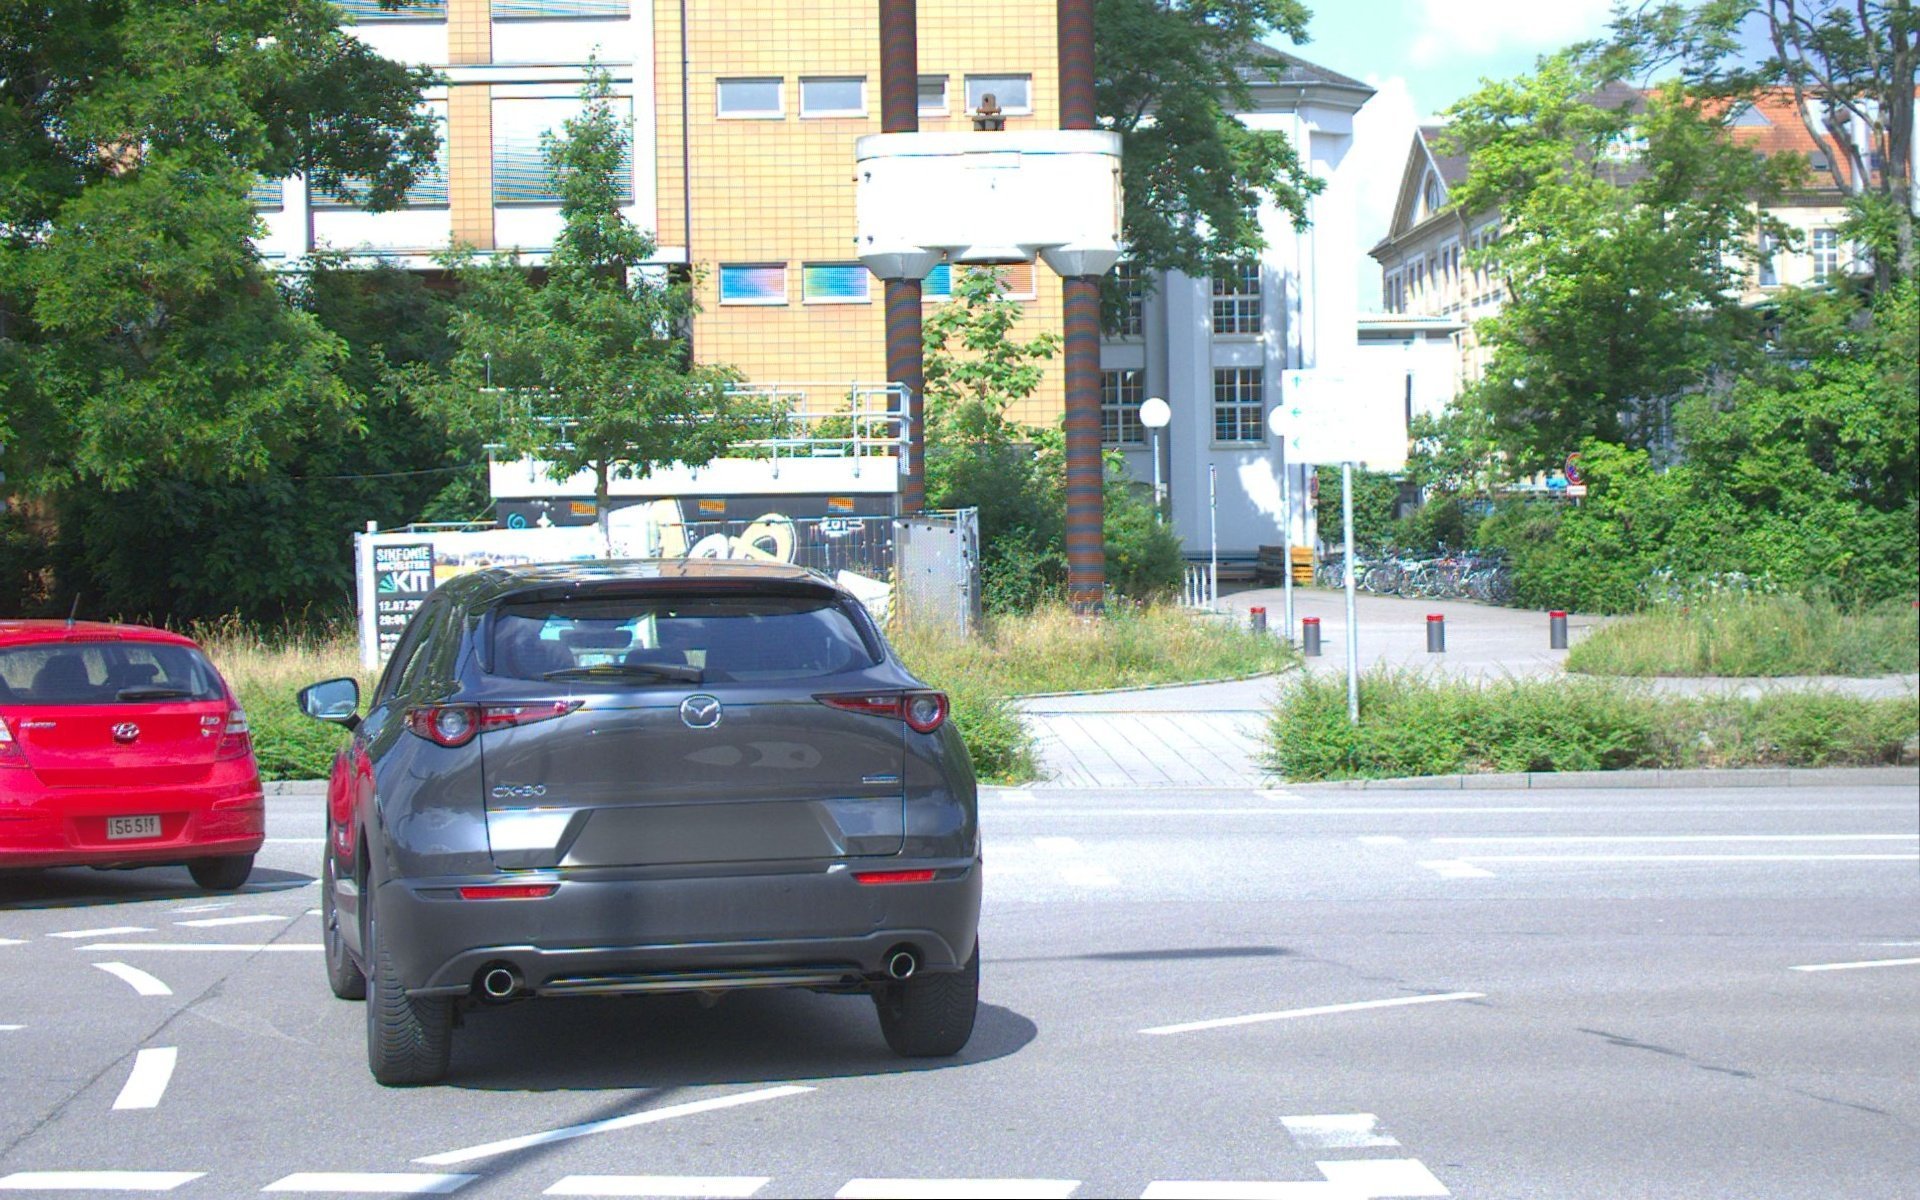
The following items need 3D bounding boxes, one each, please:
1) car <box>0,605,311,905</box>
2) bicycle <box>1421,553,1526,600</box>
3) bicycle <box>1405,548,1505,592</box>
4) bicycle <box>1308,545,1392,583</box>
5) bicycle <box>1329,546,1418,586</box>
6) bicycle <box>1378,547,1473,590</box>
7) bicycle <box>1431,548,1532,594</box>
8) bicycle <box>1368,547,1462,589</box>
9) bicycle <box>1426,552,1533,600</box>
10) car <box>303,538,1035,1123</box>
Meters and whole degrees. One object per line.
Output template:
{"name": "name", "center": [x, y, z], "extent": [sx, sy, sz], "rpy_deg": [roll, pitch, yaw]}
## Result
{"name": "car", "center": [-5.281, 0.768, 18.839], "extent": [1.816, 1.434, 4.066], "rpy_deg": [-1, 0, -36]}
{"name": "bicycle", "center": [10.764, -0.492, 72.142], "extent": [2.055, 0.933, 0.804], "rpy_deg": [-1, 1, -2]}
{"name": "bicycle", "center": [10.960, -0.664, 76.121], "extent": [2.055, 0.933, 0.804], "rpy_deg": [-1, 1, -2]}
{"name": "bicycle", "center": [10.106, -0.939, 89.182], "extent": [2.055, 0.933, 0.804], "rpy_deg": [-1, 1, -2]}
{"name": "bicycle", "center": [10.147, -0.840, 84.323], "extent": [2.055, 0.933, 0.804], "rpy_deg": [-1, 1, -2]}
{"name": "bicycle", "center": [10.762, -0.735, 79.596], "extent": [2.055, 0.933, 0.804], "rpy_deg": [-1, 1, -2]}
{"name": "bicycle", "center": [11.337, -0.631, 74.791], "extent": [2.055, 0.933, 0.804], "rpy_deg": [-1, 1, -2]}
{"name": "bicycle", "center": [10.656, -0.759, 80.594], "extent": [2.055, 0.933, 0.804], "rpy_deg": [-1, 1, -2]}
{"name": "bicycle", "center": [10.656, -0.495, 70.564], "extent": [2.055, 0.933, 0.804], "rpy_deg": [-1, 1, -2]}
{"name": "car", "center": [-1.155, 0.619, 11.319], "extent": [1.805, 1.503, 4.206], "rpy_deg": [-2, 0, -13]}
